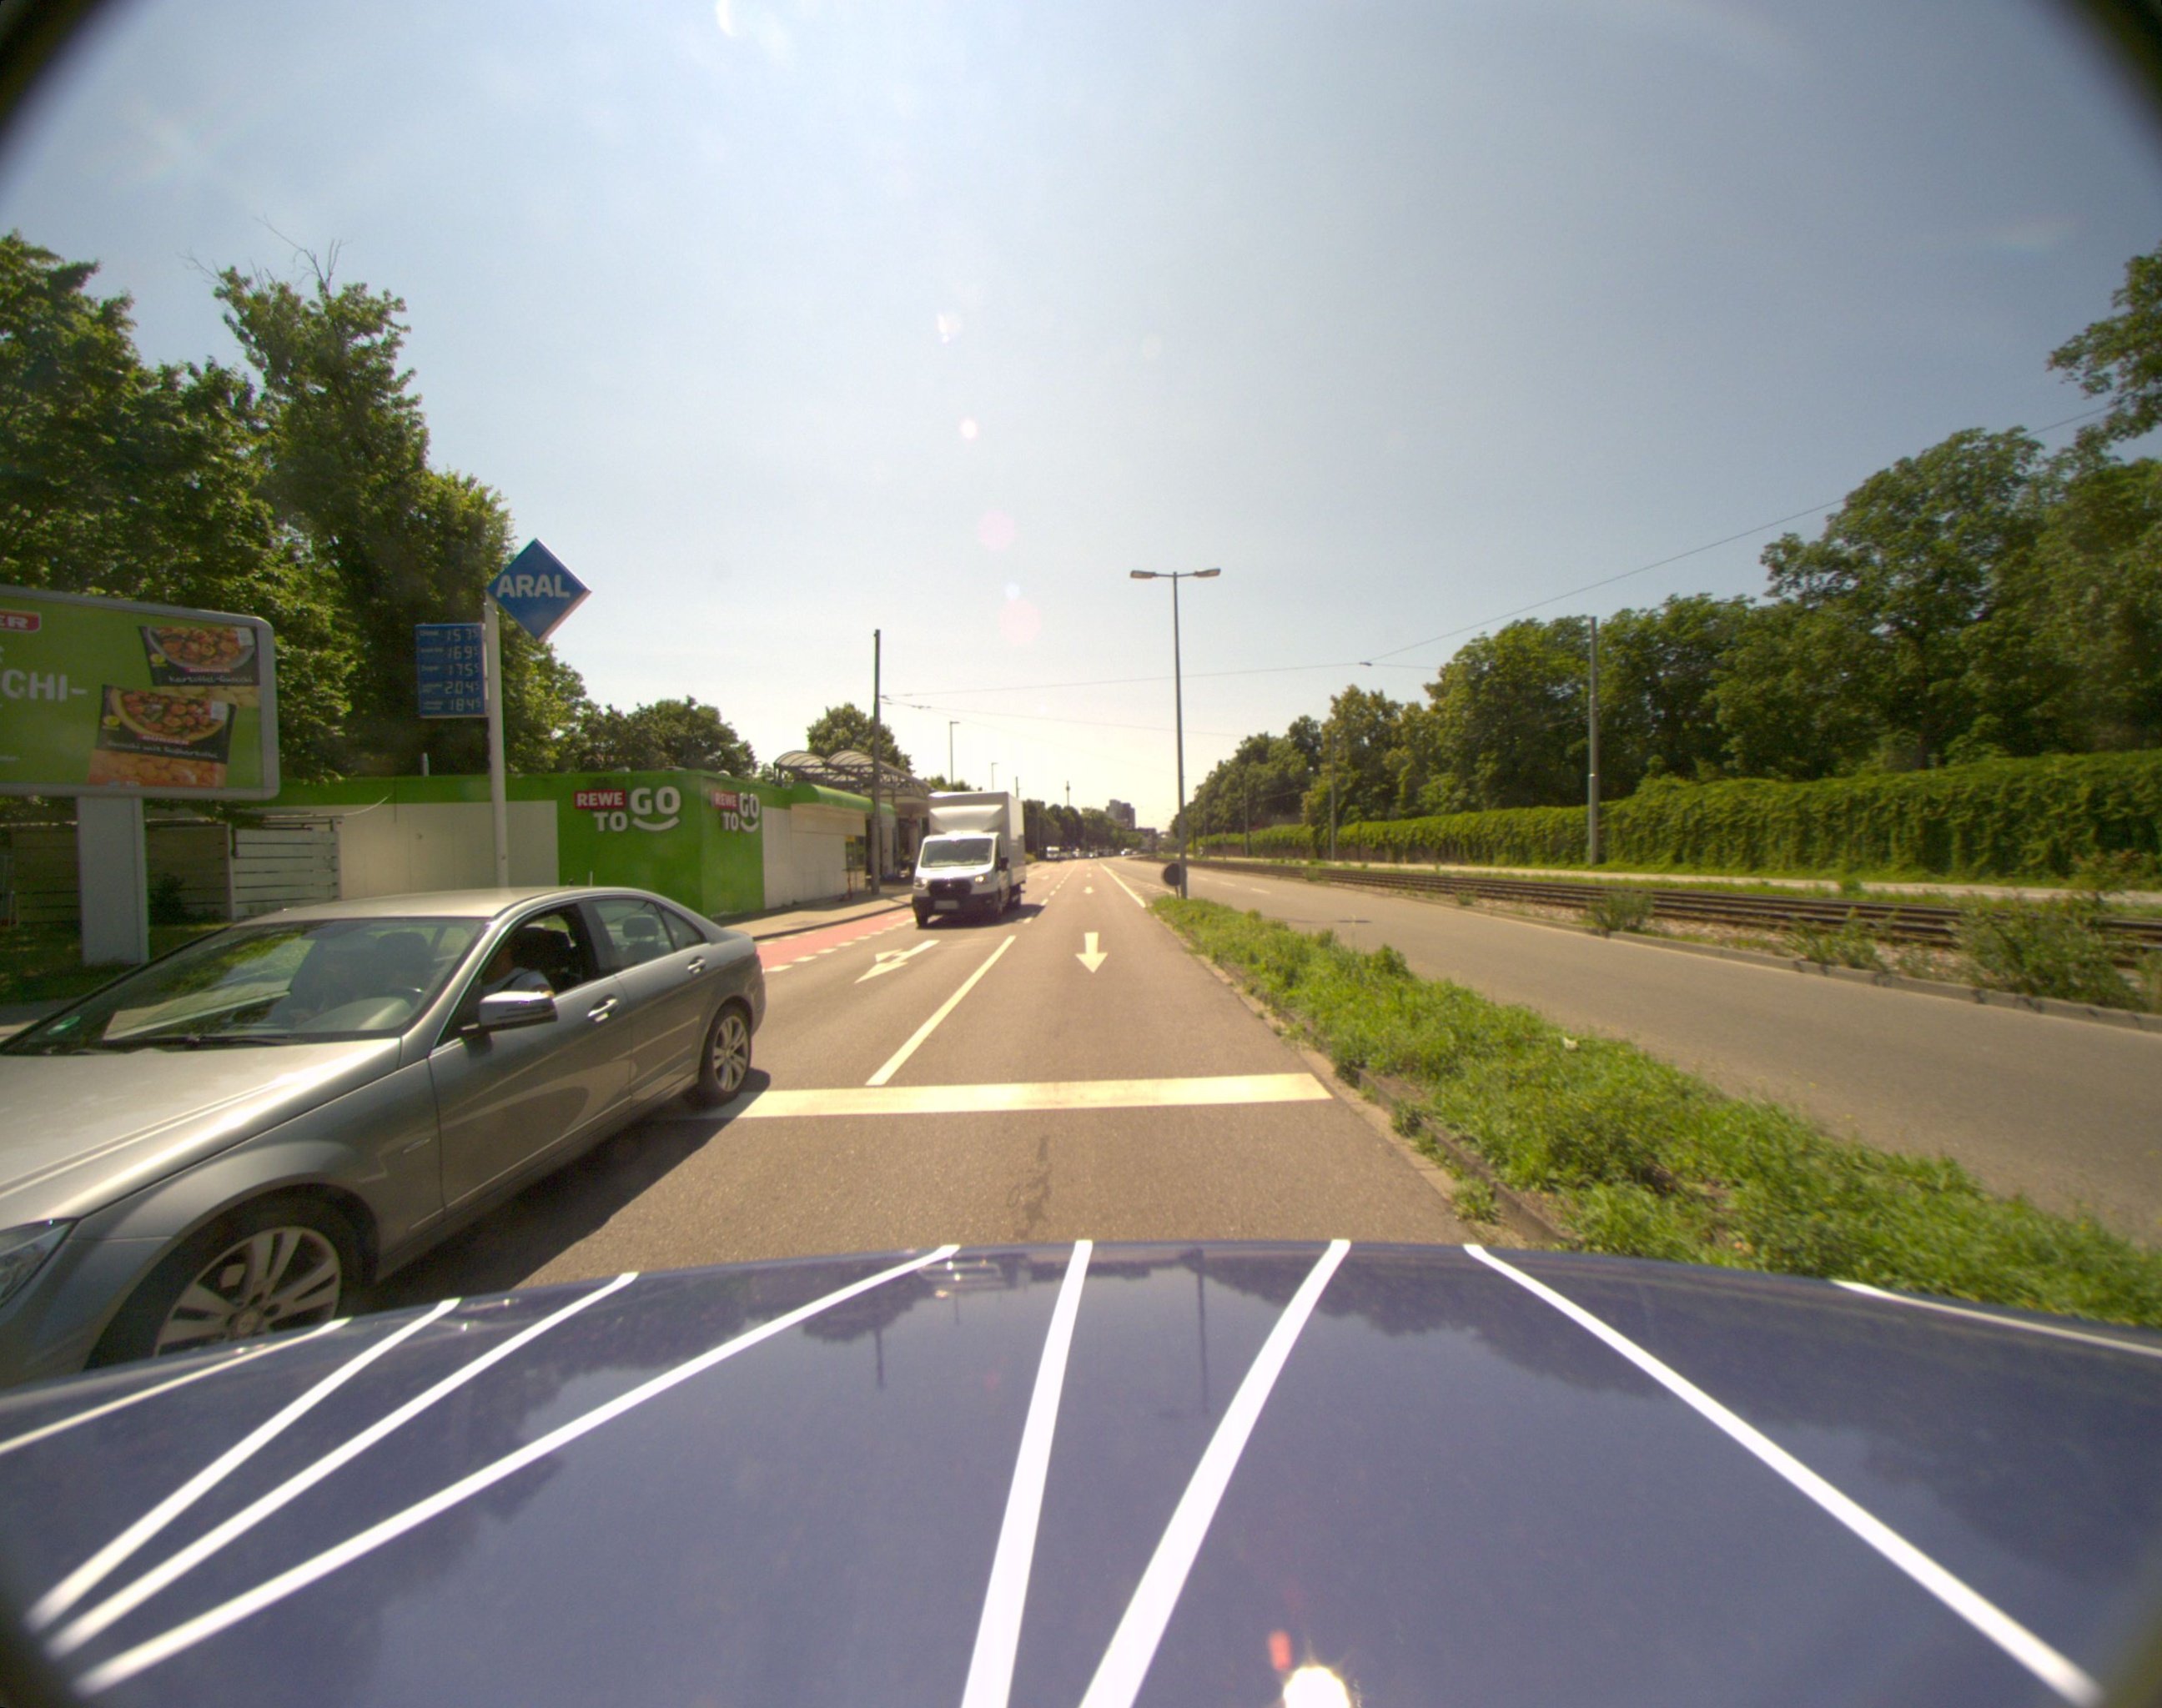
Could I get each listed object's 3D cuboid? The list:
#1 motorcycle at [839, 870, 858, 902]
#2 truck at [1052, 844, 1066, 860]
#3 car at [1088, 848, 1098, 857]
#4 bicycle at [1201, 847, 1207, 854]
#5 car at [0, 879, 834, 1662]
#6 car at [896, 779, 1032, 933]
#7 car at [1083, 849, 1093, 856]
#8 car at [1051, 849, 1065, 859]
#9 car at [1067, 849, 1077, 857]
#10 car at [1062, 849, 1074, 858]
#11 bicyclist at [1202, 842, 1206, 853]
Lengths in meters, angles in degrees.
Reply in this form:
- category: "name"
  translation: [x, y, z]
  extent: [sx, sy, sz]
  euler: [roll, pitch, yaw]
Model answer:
- category: "motorcycle"
  translation: [-8.399, 1.142, 27.437]
  extent: [0.253, 1.099, 1.117]
  euler: [4, 1, 1]
- category: "truck"
  translation: [-3.620, -0.421, 125.833]
  extent: [1.998, 2.462, 5.236]
  euler: [-3, 1, 1]
- category: "car"
  translation: [2.674, -0.342, 166.803]
  extent: [1.947, 1.674, 4.000]
  euler: [-3, 1, 2]
- category: "bicycle"
  translation: [18.369, -0.484, 113.442]
  extent: [0.617, 1.049, 1.978]
  euler: [-3, 1, 2]
- category: "car"
  translation: [-3.087, 1.002, 3.860]
  extent: [1.717, 1.464, 5.302]
  euler: [-4, 0, 2]
- category: "car"
  translation: [-2.873, 0.041, 21.214]
  extent: [2.229, 3.316, 8.635]
  euler: [-3, 0, 0]
- category: "car"
  translation: [1.769, -0.382, 196.215]
  extent: [1.911, 1.488, 4.002]
  euler: [-3, 1, 10]
- category: "car"
  translation: [-4.038, 0.024, 133.945]
  extent: [1.912, 1.488, 4.000]
  euler: [-3, 1, 4]
- category: "car"
  translation: [-1.892, -0.171, 159.944]
  extent: [1.912, 1.488, 4.000]
  euler: [-3, 1, 4]
- category: "car"
  translation: [-2.581, -0.135, 150.977]
  extent: [1.912, 1.488, 4.000]
  euler: [-3, 1, 4]
- category: "bicyclist"
  translation: [18.331, -0.995, 113.347]
  extent: [0.483, 1.603, 0.769]
  euler: [-3, 1, 1]
